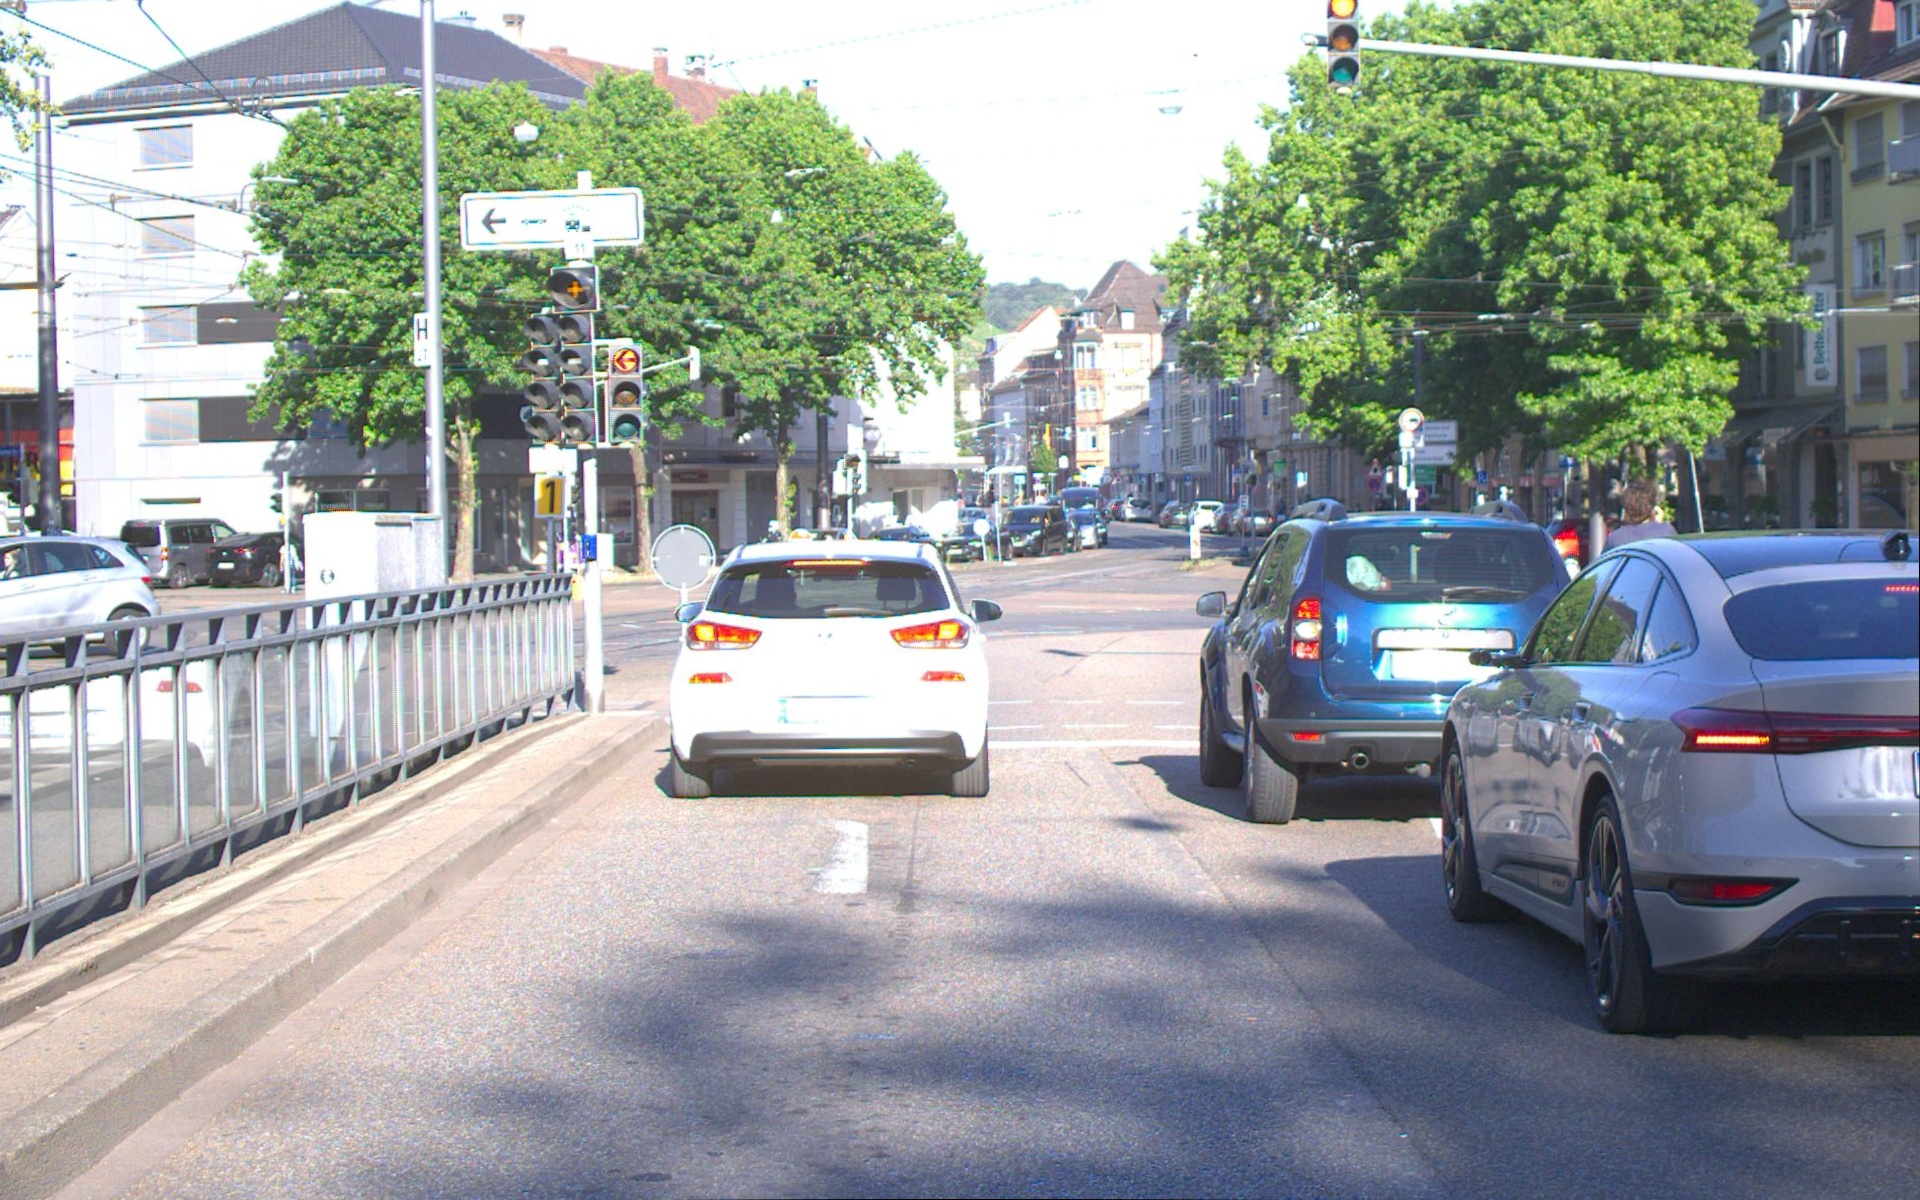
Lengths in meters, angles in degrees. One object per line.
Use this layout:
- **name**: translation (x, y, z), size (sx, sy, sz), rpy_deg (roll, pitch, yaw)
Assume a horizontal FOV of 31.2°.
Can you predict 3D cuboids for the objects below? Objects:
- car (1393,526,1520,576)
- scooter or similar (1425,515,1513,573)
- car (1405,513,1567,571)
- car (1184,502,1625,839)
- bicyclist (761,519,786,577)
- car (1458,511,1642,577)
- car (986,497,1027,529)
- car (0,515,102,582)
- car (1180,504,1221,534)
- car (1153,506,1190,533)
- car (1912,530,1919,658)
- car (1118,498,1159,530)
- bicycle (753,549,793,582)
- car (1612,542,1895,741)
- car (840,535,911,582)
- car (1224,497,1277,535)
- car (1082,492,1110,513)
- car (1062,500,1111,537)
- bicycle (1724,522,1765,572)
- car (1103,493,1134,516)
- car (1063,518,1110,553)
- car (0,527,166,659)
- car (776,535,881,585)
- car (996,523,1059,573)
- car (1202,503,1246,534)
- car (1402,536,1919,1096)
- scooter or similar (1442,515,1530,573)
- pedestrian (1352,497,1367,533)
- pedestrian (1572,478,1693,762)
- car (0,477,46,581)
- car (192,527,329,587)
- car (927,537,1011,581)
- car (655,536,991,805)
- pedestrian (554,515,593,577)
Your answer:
- **car**: translation (15.501, -1.537, 107.237), size (3.989, 1.505, 1.799), rpy_deg (-2, 2, -42)
- **scooter or similar**: translation (11.316, -1.250, 76.442), size (1.949, 1.276, 0.552), rpy_deg (0, 1, 41)
- **car**: translation (14.210, -1.577, 93.021), size (3.986, 1.505, 1.800), rpy_deg (-1, 1, -6)
- **car**: translation (2.293, 0.298, 18.731), size (1.800, 1.632, 4.045), rpy_deg (0, 1, -1)
- **bicyclist**: translation (-5.589, -1.557, 102.918), size (0.468, 1.739, 0.716), rpy_deg (0, 1, 23)
- **car**: translation (14.152, -1.354, 82.561), size (3.986, 1.505, 1.801), rpy_deg (-1, 1, -9)
- **car**: translation (2.253, -4.220, 166.277), size (1.794, 1.505, 4.001), rpy_deg (-1, 1, -2)
- **car**: translation (-27.350, -1.536, 102.039), size (1.796, 1.949, 3.997), rpy_deg (0, 1, 18)
- **car**: translation (12.408, -4.180, 177.696), size (1.794, 1.505, 4.000), rpy_deg (-1, 1, -1)
- **car**: translation (12.111, -4.598, 196.931), size (1.794, 1.517, 4.000), rpy_deg (-1, 1, -1)
- **car**: translation (13.432, -0.094, 41.095), size (3.987, 1.505, 1.800), rpy_deg (-2, 3, -34)
- **car**: translation (11.517, -5.554, 221.941), size (2.327, 2.007, 4.977), rpy_deg (-1, 1, -1)
- **bicycle**: translation (-5.586, -1.045, 102.925), size (0.468, 0.953, 1.765), rpy_deg (0, 1, 23)
- **car**: translation (6.279, 0.270, 27.579), size (1.801, 1.434, 4.044), rpy_deg (1, 1, 7)
- **car**: translation (-2.753, -1.377, 113.288), size (1.794, 1.505, 3.999), rpy_deg (-1, 1, 6)
- **car**: translation (13.935, -4.042, 165.008), size (2.105, 1.770, 4.342), rpy_deg (-1, 1, -1)
- **car**: translation (9.771, -7.006, 247.217), size (1.794, 1.505, 4.000), rpy_deg (-1, 1, -1)
- **car**: translation (5.257, -3.385, 143.375), size (1.794, 1.505, 4.001), rpy_deg (-1, 1, -2)
- **bicycle**: translation (17.474, -1.183, 76.585), size (0.609, 1.104, 1.800), rpy_deg (0, 1, 4)
- **car**: translation (10.498, -6.309, 227.395), size (1.794, 1.505, 4.000), rpy_deg (-1, 1, -1)
- **car**: translation (5.543, -2.828, 151.383), size (1.794, 1.505, 4.001), rpy_deg (-1, 1, -2)
- **car**: translation (-12.615, -0.111, 44.664), size (4.149, 1.686, 1.820), rpy_deg (-1, 1, -44)
- **car**: translation (-4.091, -1.263, 107.296), size (1.726, 1.505, 3.871), rpy_deg (-1, 1, 24)
- **car**: translation (2.545, -1.978, 128.778), size (1.795, 1.820, 3.999), rpy_deg (0, 1, 10)
- **car**: translation (13.159, -4.039, 171.537), size (1.794, 1.505, 4.000), rpy_deg (-1, 1, -1)
- **car**: translation (2.789, 0.528, 11.562), size (1.929, 1.467, 4.855), rpy_deg (0, 1, -1)
- **scooter or similar**: translation (11.775, -1.250, 76.993), size (1.949, 1.276, 0.552), rpy_deg (0, 1, 41)
- **pedestrian**: translation (18.203, -3.864, 156.589), size (0.648, 1.645, 0.650), rpy_deg (0, 0, 10)
- **pedestrian**: translation (4.486, 0.123, 22.967), size (0.657, 1.864, 0.678), rpy_deg (-1, 1, -1)
- **car**: translation (-30.499, -2.112, 103.024), size (2.499, 3.154, 6.528), rpy_deg (0, 1, 22)
- **car**: translation (-19.985, -1.244, 98.424), size (1.923, 1.643, 4.176), rpy_deg (0, 1, 20)
- **car**: translation (0.343, -1.466, 121.348), size (1.796, 1.505, 3.996), rpy_deg (-1, 1, 18)
- **car**: translation (-0.780, 0.345, 20.523), size (1.808, 1.447, 4.000), rpy_deg (0, 1, -1)
- **pedestrian**: translation (-11.257, -1.573, 100.112), size (0.837, 1.765, 0.781), rpy_deg (0, 1, 25)
